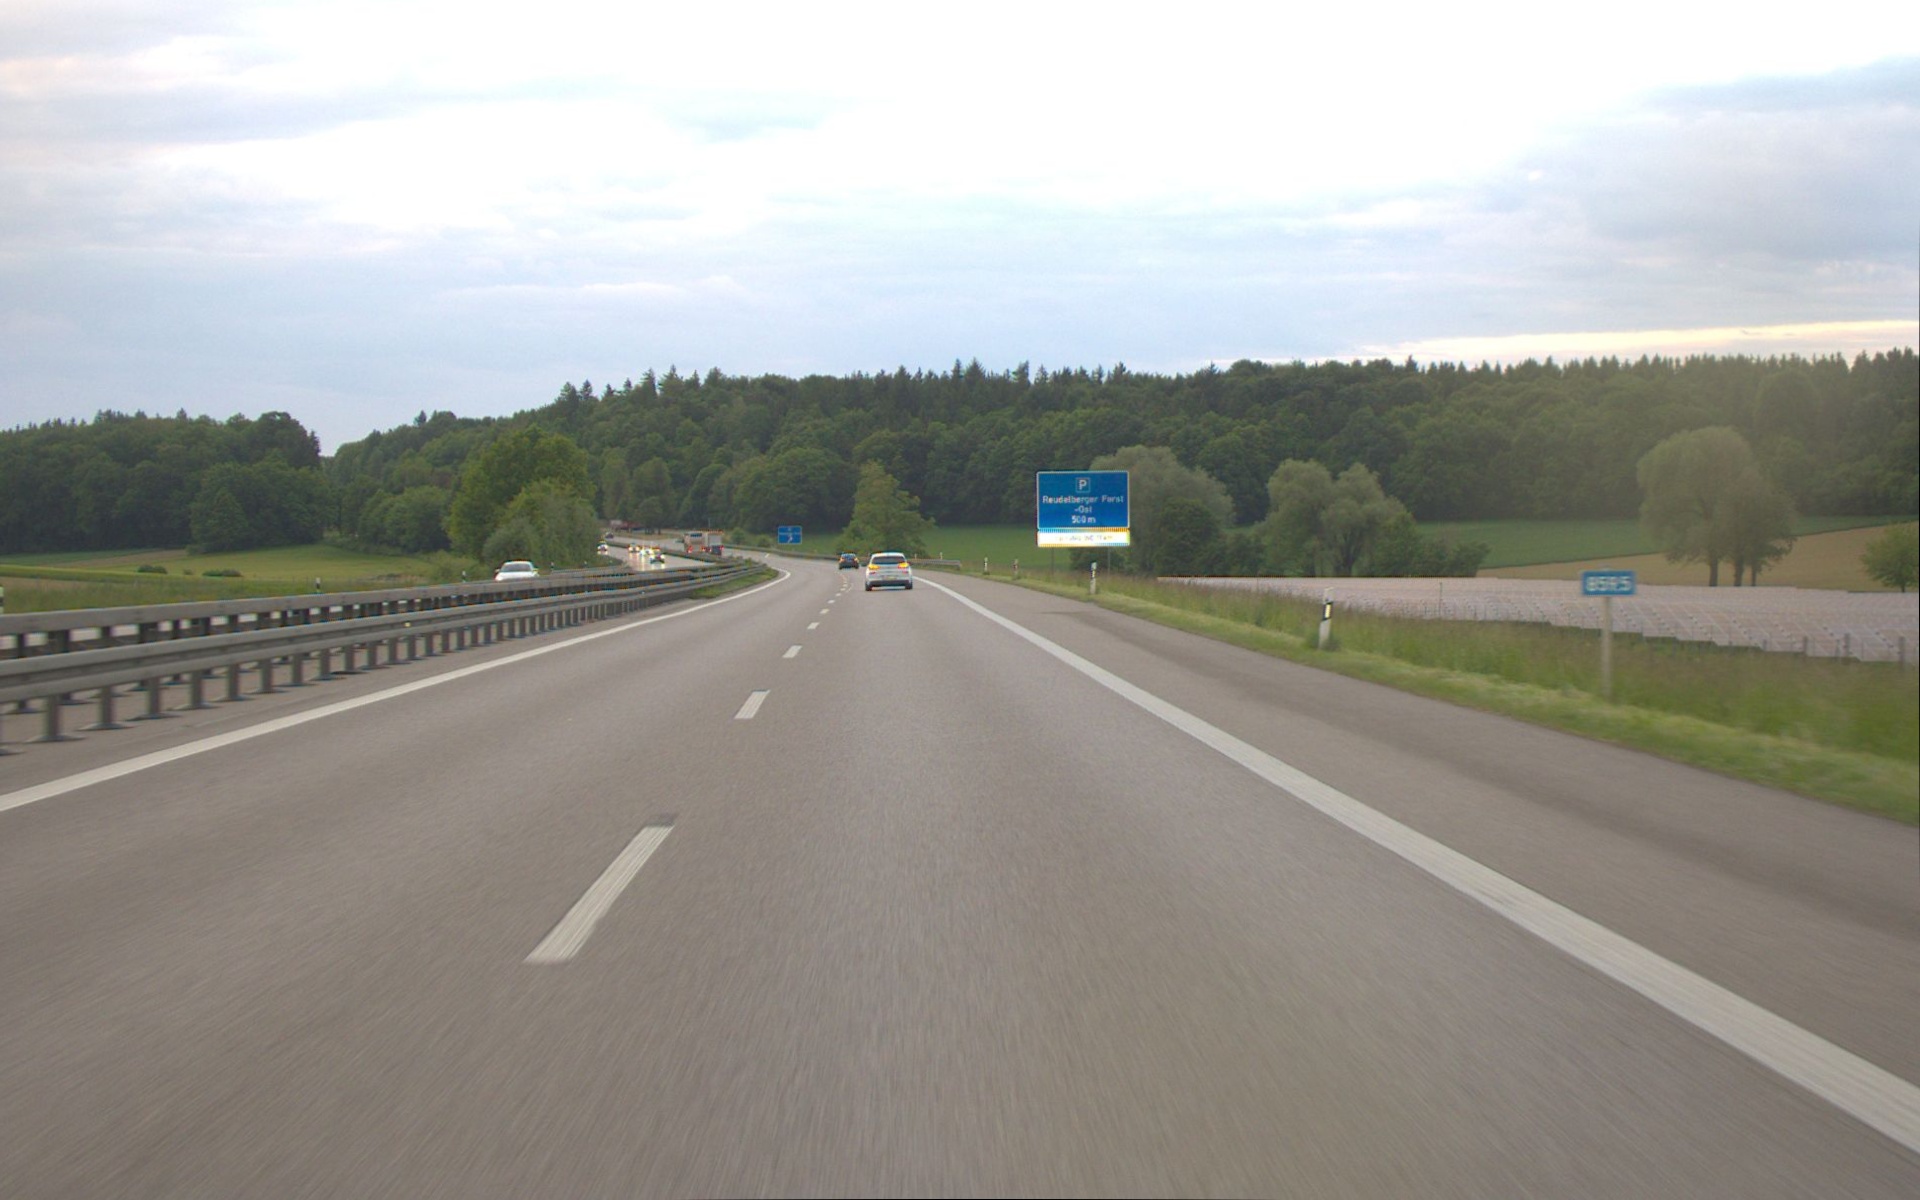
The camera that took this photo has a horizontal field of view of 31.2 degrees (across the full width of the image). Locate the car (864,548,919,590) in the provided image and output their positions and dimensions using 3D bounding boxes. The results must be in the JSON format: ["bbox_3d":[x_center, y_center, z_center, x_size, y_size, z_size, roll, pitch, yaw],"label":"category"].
[{"bbox_3d":[-2.680,-1.222,133.627,1.951,1.526,4.081,1,1,-3],"label":"car"}]

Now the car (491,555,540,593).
[{"bbox_3d":[-20.759,-1.215,160.679,1.790,1.693,4.590,1,1,-1],"label":"car"}]
